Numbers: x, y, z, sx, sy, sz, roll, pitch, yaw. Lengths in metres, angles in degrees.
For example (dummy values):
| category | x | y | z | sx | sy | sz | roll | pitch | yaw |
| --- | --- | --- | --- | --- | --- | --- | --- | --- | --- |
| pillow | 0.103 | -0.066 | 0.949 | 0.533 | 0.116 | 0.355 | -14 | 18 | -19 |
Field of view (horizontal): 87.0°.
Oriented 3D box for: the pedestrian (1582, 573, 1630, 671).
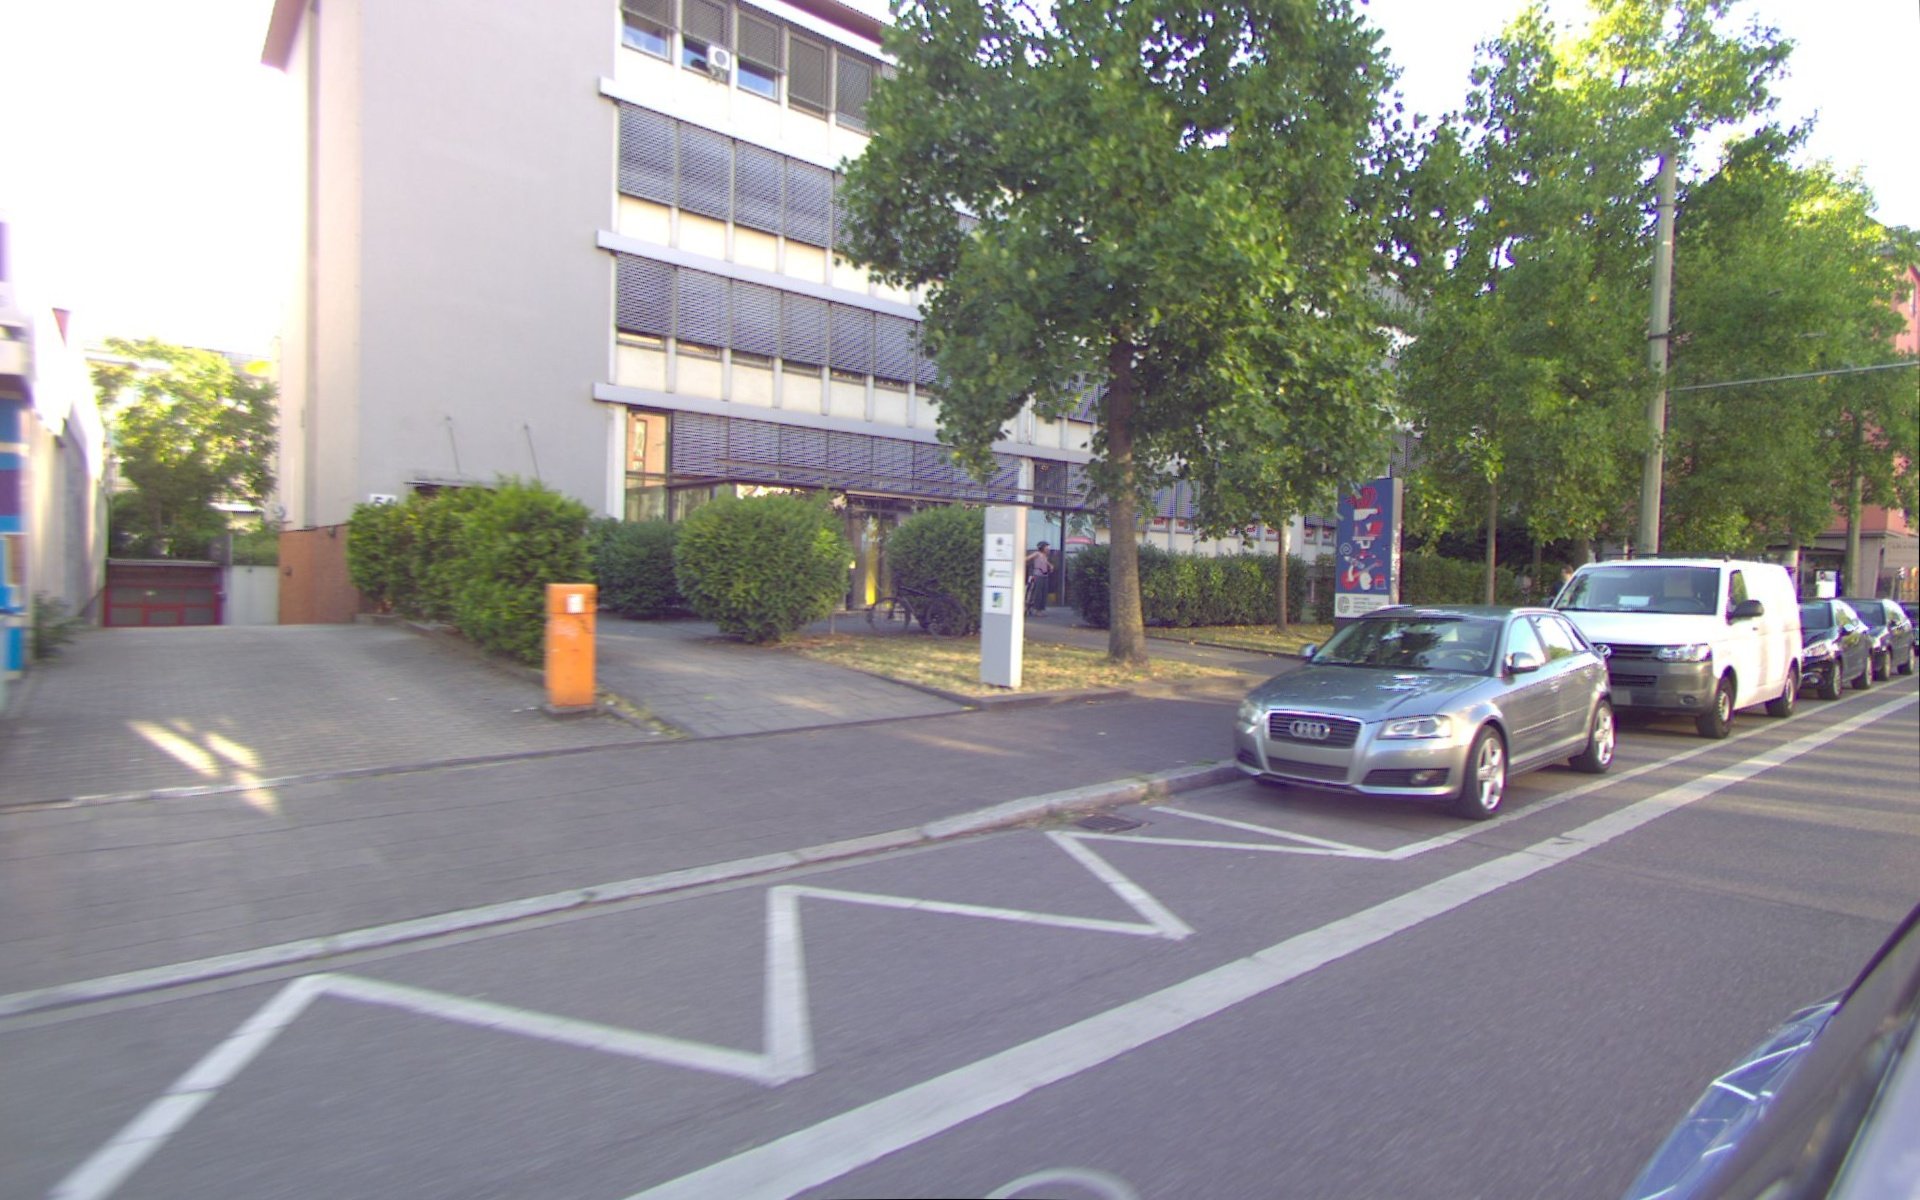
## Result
| category | x | y | z | sx | sy | sz | roll | pitch | yaw |
| --- | --- | --- | --- | --- | --- | --- | --- | --- | --- |
| pedestrian | 11.717 | 0.390 | 18.358 | 0.429 | 1.733 | 0.494 | 1 | 4 | -40 |

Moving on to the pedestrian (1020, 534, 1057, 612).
| category | x | y | z | sx | sy | sz | roll | pitch | yaw |
| --- | --- | --- | --- | --- | --- | --- | --- | --- | --- |
| pedestrian | 1.770 | -0.612 | 22.812 | 0.537 | 1.710 | 0.569 | 1 | 2 | -34 |

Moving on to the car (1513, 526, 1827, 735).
| category | x | y | z | sx | sy | sz | roll | pitch | yaw |
| --- | --- | --- | --- | --- | --- | --- | --- | --- | --- |
| car | 8.683 | 0.292 | 12.199 | 4.817 | 2.046 | 1.881 | 1 | 1 | -40 |

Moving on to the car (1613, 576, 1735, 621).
| category | x | y | z | sx | sy | sz | roll | pitch | yaw |
| --- | --- | --- | --- | --- | --- | --- | --- | --- | --- |
| car | 33.432 | -0.093 | 47.484 | 1.562 | 1.692 | 4.363 | 1 | 5 | -43 |

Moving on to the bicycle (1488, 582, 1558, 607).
| category | x | y | z | sx | sy | sz | roll | pitch | yaw |
| --- | --- | --- | --- | --- | --- | --- | --- | --- | --- |
| bicycle | 26.994 | -0.263 | 48.552 | 0.809 | 1.071 | 2.800 | 0 | 3 | -44 |

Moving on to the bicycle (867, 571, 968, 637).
| category | x | y | z | sx | sy | sz | roll | pitch | yaw |
| --- | --- | --- | --- | --- | --- | --- | --- | --- | --- |
| bicycle | -0.693 | 0.053 | 16.238 | 1.601 | 0.971 | 0.366 | 3 | 2 | 22 |

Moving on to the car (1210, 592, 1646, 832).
| category | x | y | z | sx | sy | sz | roll | pitch | yaw |
| --- | --- | --- | --- | --- | --- | --- | --- | --- | --- |
| car | 3.908 | 0.662 | 8.113 | 4.095 | 1.422 | 1.677 | -1 | 1 | -41 |

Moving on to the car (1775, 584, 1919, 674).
| category | x | y | z | sx | sy | sz | roll | pitch | yaw |
| --- | --- | --- | --- | --- | --- | --- | --- | --- | --- |
| car | 16.983 | 0.475 | 19.137 | 3.830 | 1.513 | 1.598 | 0 | 2 | -38 |

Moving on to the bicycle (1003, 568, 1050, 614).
| category | x | y | z | sx | sy | sz | roll | pitch | yaw |
| --- | --- | --- | --- | --- | --- | --- | --- | --- | --- |
| bicycle | 1.468 | -0.206 | 22.442 | 0.361 | 0.971 | 1.250 | 1 | 2 | -31 |

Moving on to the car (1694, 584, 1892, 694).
| category | x | y | z | sx | sy | sz | roll | pitch | yaw |
| --- | --- | --- | --- | --- | --- | --- | --- | --- | --- |
| car | 13.142 | 0.520 | 15.903 | 3.841 | 1.511 | 1.687 | 0 | 1 | -39 |

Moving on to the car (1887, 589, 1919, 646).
| category | x | y | z | sx | sy | sz | roll | pitch | yaw |
| --- | --- | --- | --- | --- | --- | --- | --- | --- | --- |
| car | 26.225 | 0.470 | 26.944 | 4.138 | 1.446 | 1.783 | 1 | 1 | -40 |
